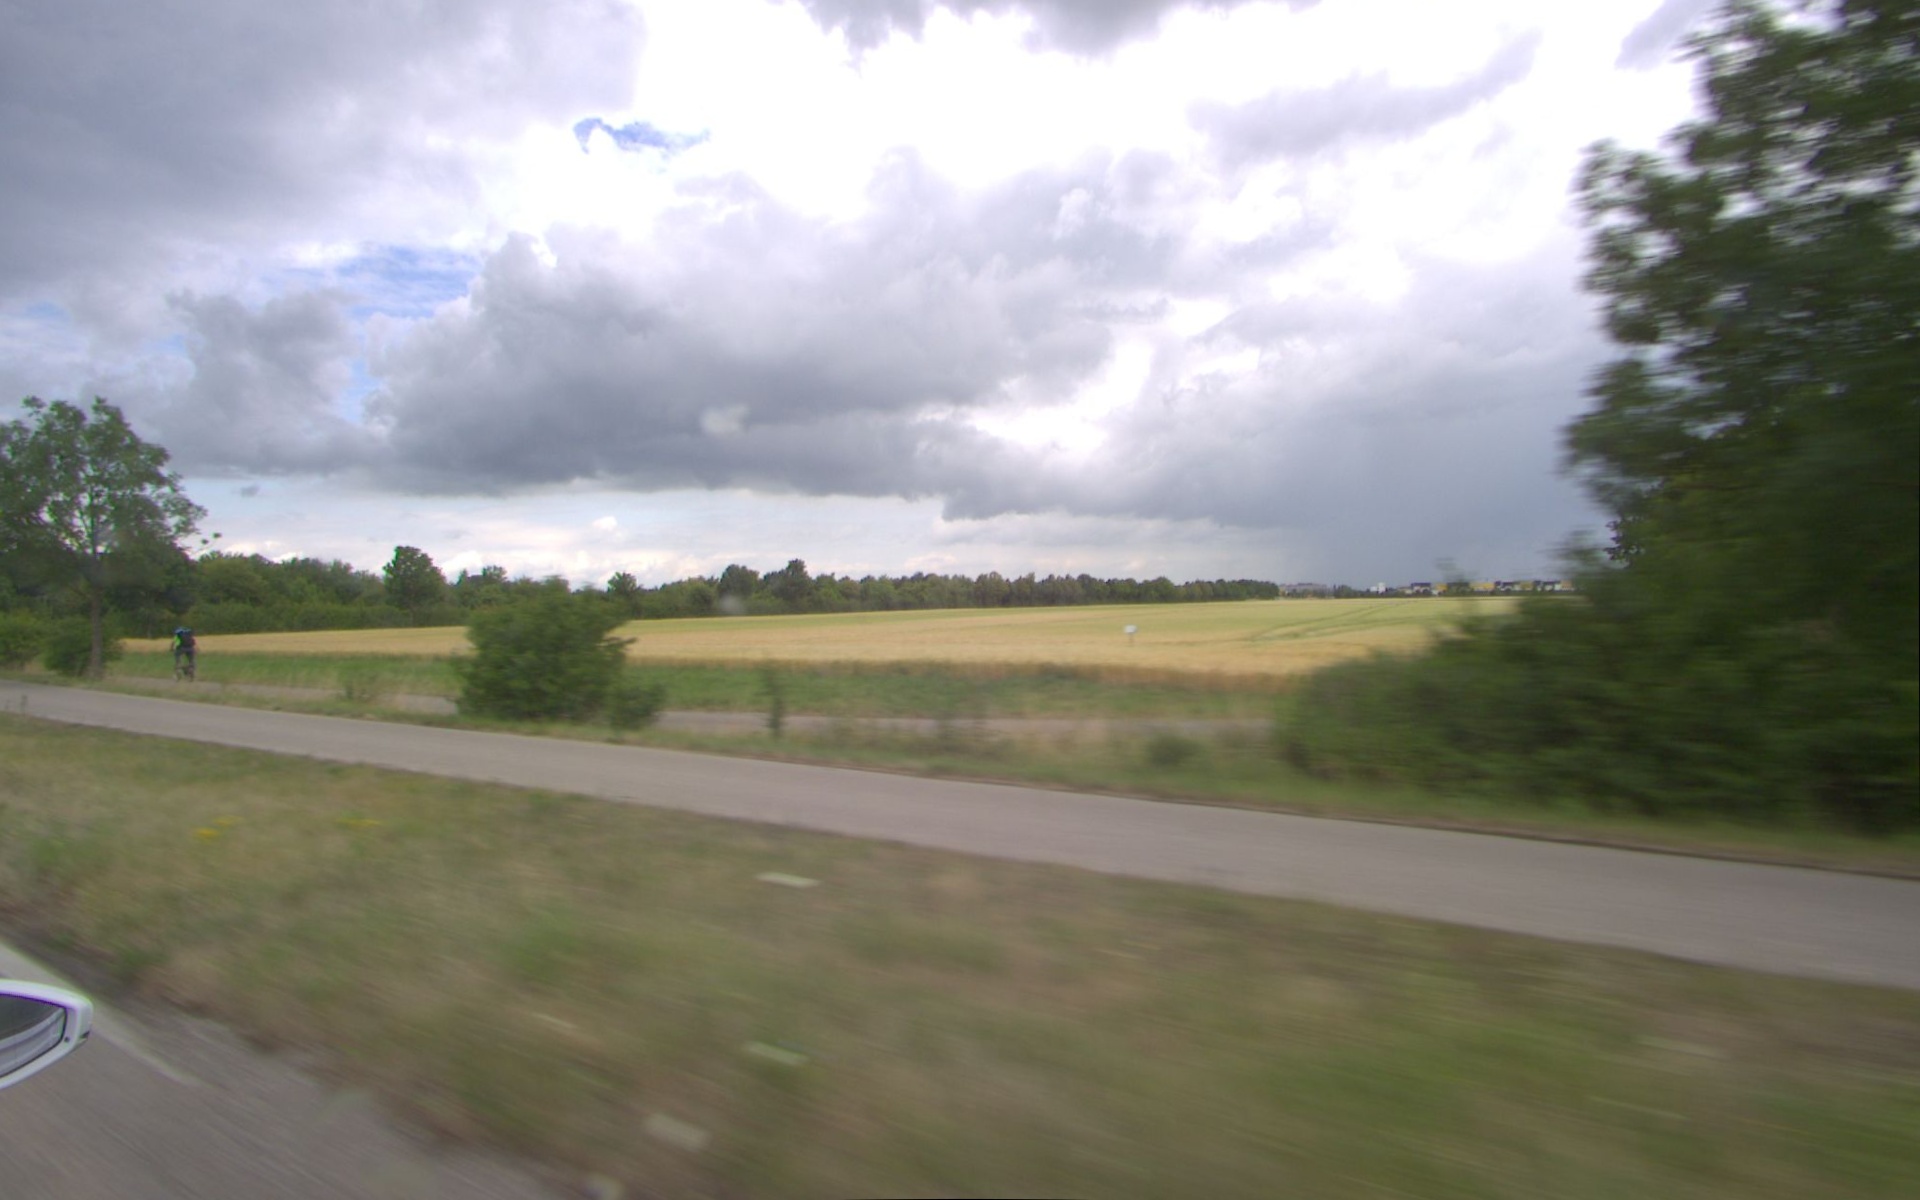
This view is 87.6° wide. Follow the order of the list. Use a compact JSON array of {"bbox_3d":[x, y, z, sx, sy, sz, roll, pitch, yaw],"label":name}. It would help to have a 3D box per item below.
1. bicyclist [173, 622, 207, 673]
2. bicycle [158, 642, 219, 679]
[{"bbox_3d":[-24.748,1.511,32.187,0.733,1.601,0.655,-1,-1,32],"label":"bicyclist"},{"bbox_3d":[-24.841,1.925,32.233,2.790,1.153,0.655,-1,-2,32],"label":"bicycle"}]
